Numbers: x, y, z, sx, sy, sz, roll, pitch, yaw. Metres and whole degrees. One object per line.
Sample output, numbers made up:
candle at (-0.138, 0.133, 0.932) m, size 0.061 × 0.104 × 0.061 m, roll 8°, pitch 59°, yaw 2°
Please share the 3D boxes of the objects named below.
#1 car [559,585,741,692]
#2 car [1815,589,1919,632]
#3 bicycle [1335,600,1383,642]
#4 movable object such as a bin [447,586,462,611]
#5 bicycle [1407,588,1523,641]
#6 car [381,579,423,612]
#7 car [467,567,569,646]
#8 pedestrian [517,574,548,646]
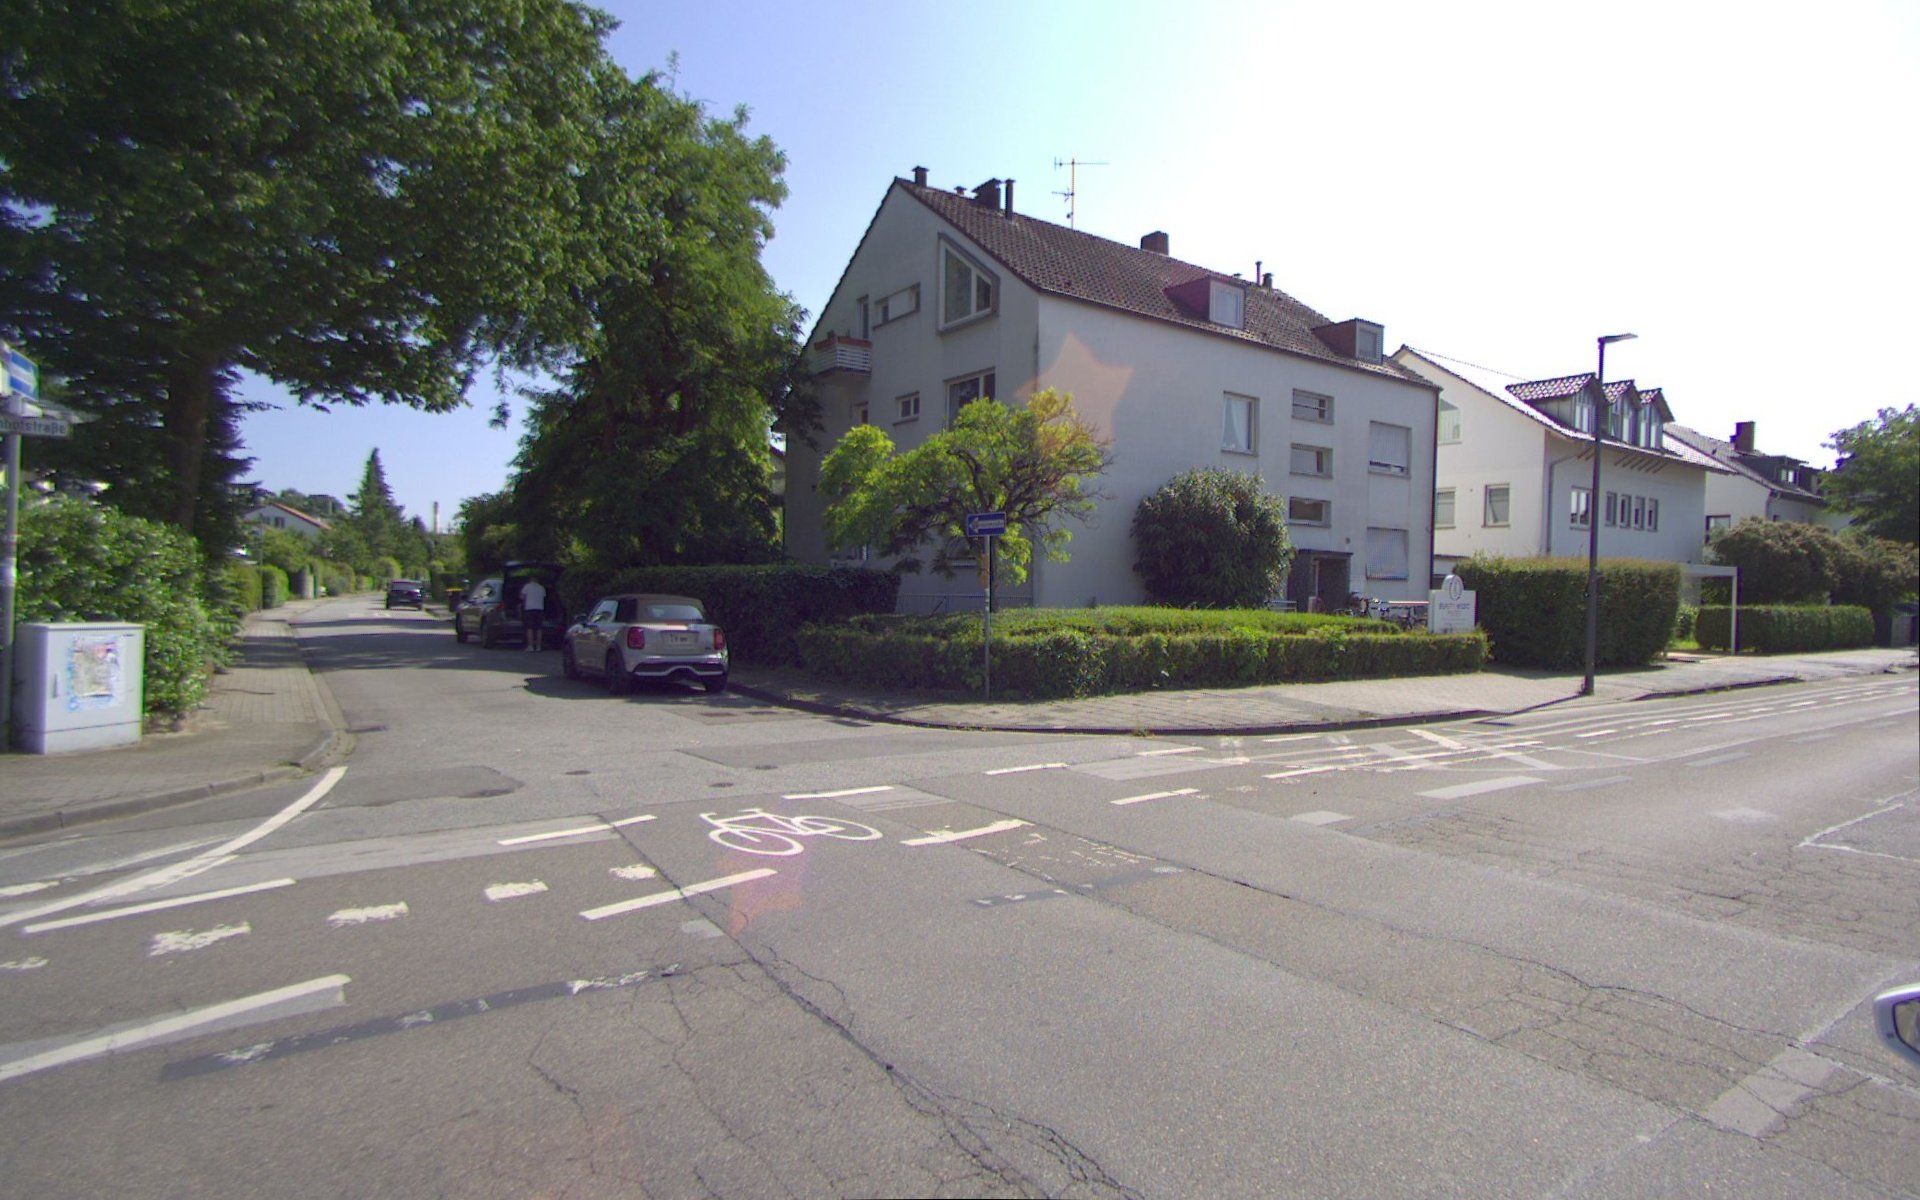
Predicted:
car at (-4.965, 0.512, 15.804) m, size 1.710 × 1.431 × 3.467 m, roll 0°, pitch 1°, yaw -36°
car at (40.790, 0.434, 44.533) m, size 1.979 × 1.783 × 3.961 m, roll 0°, pitch 2°, yaw -34°
bicycle at (8.807, 0.461, 22.139) m, size 1.359 × 0.885 × 0.330 m, roll 0°, pitch 6°, yaw -41°
movable object such as a bin at (-23.781, -0.079, 47.240) m, size 0.619 × 1.170 × 0.685 m, roll 0°, pitch 1°, yaw -27°
bicycle at (11.917, 0.328, 23.788) m, size 2.392 × 1.122 × 0.537 m, roll 2°, pitch 7°, yaw 24°
car at (-29.754, -0.257, 53.535) m, size 1.895 × 1.640 × 3.968 m, roll 0°, pitch 1°, yaw -30°
car at (-10.828, 0.104, 24.498) m, size 1.628 × 1.768 × 3.469 m, roll 1°, pitch 1°, yaw -35°
pedestrian at (-9.880, 0.232, 23.219) m, size 0.563 × 1.629 × 0.396 m, roll 0°, pitch 1°, yaw -35°
